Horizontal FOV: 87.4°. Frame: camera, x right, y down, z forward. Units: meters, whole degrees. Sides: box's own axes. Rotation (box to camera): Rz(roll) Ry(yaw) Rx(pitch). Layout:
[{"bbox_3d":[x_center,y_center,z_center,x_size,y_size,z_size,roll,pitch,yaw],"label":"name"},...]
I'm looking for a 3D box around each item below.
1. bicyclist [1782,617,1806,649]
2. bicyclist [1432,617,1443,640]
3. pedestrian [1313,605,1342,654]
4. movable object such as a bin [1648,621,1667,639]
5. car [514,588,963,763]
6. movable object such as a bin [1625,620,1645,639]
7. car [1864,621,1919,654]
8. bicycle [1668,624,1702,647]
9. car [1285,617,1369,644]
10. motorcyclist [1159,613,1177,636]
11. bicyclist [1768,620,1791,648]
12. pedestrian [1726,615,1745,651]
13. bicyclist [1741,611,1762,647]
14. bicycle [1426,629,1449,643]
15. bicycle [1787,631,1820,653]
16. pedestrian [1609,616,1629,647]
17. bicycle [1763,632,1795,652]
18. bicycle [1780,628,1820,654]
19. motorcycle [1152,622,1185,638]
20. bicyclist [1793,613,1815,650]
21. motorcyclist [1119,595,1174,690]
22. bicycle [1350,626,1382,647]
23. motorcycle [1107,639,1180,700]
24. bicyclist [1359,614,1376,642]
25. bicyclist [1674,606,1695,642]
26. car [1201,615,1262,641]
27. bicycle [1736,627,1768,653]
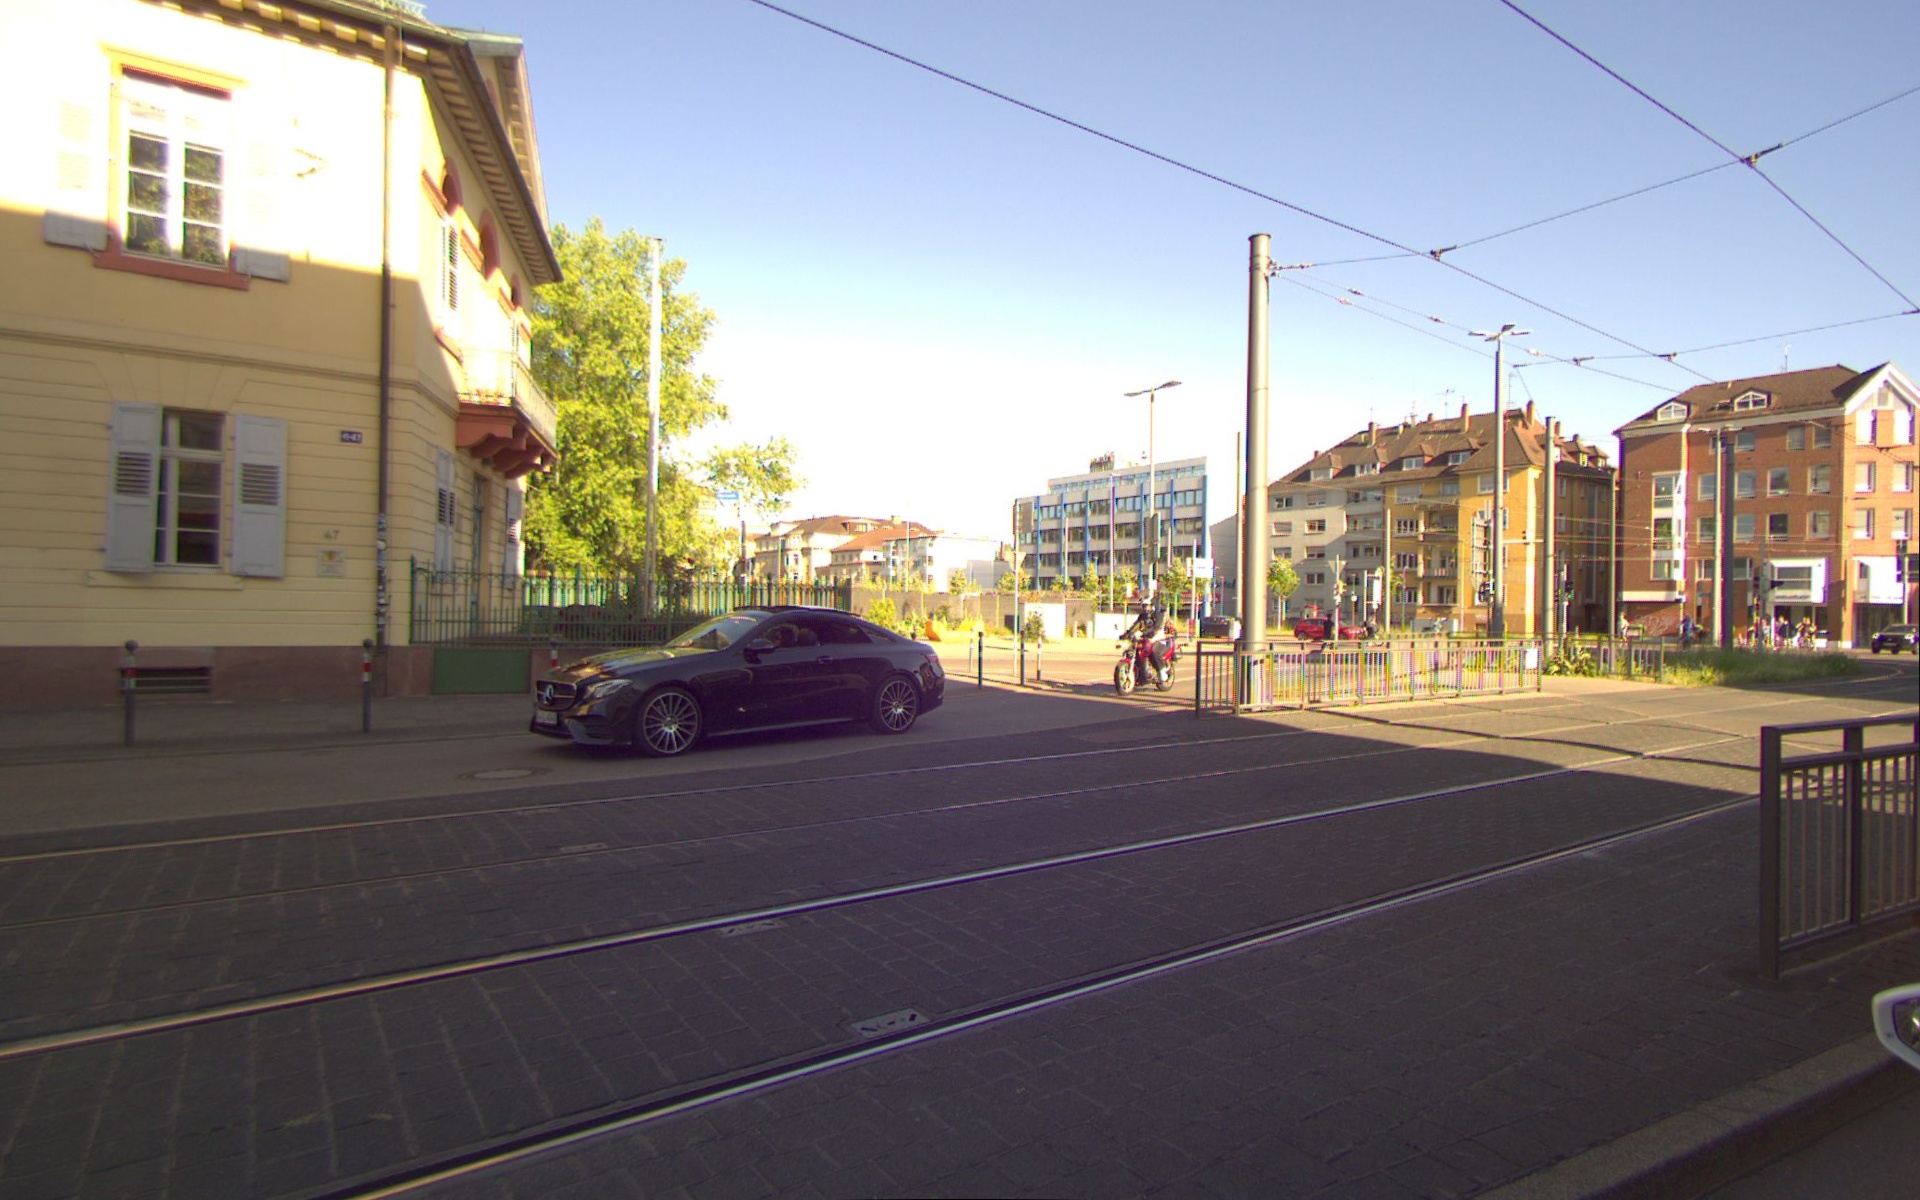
[{"bbox_3d":[44.369,1.742,53.446,0.792,1.671,0.589,2,0,-13],"label":"bicyclist"},{"bbox_3d":[27.548,1.654,57.914,0.453,1.333,0.397,2,0,44],"label":"bicyclist"},{"bbox_3d":[14.765,1.177,40.371,0.784,1.959,0.724,2,0,-9],"label":"pedestrian"},{"bbox_3d":[55.459,2.390,79.876,1.087,1.456,0.988,2,0,-39],"label":"movable object such as a bin"},{"bbox_3d":[-2.221,0.722,11.091,4.639,1.529,1.759,2,-2,-45],"label":"car"},{"bbox_3d":[54.475,2.374,81.058,1.087,1.456,0.988,2,0,-39],"label":"movable object such as a bin"},{"bbox_3d":[47.709,1.891,50.882,4.074,1.581,1.676,2,0,-30],"label":"car"},{"bbox_3d":[34.383,1.681,47.651,1.862,1.027,0.527,2,0,-29],"label":"bicycle"},{"bbox_3d":[21.836,1.805,59.903,1.768,1.529,4.513,1,-2,-39],"label":"car"},{"bbox_3d":[14.442,1.720,69.723,0.775,1.544,0.914,2,0,-36],"label":"motorcyclist"},{"bbox_3d":[42.871,1.773,52.539,0.721,1.473,0.661,2,0,-29],"label":"bicyclist"},{"bbox_3d":[45.433,1.934,58.846,0.819,2.040,0.592,2,0,-27],"label":"pedestrian"},{"bbox_3d":[38.702,1.412,49.124,0.761,1.695,0.518,2,0,-29],"label":"bicyclist"},{"bbox_3d":[27.530,2.080,57.942,1.160,0.774,0.318,2,0,45],"label":"bicycle"},{"bbox_3d":[39.886,1.980,47.510,1.873,1.027,0.527,2,0,-29],"label":"bicycle"},{"bbox_3d":[37.055,1.754,56.465,0.693,1.711,0.625,0,1,-12],"label":"pedestrian"},{"bbox_3d":[42.841,2.193,52.537,1.862,1.027,0.647,2,0,-29],"label":"bicycle"},{"bbox_3d":[44.774,2.177,53.549,1.992,1.308,0.574,2,0,-14],"label":"bicycle"},{"bbox_3d":[14.447,2.076,69.713,0.784,0.997,2.342,2,0,-36],"label":"motorcycle"},{"bbox_3d":[39.899,1.490,47.510,0.761,1.695,0.522,2,0,-28],"label":"bicyclist"},{"bbox_3d":[3.245,0.721,17.467,0.642,1.579,0.883,2,0,30],"label":"motorcyclist"},{"bbox_3d":[22.095,1.975,54.702,0.608,1.148,1.481,2,-2,-43],"label":"bicycle"},{"bbox_3d":[3.211,1.167,17.438,0.590,0.939,2.153,2,0,28],"label":"motorcycle"},{"bbox_3d":[22.175,1.513,54.641,0.605,1.513,0.608,2,0,-44],"label":"bicyclist"},{"bbox_3d":[34.350,1.127,47.624,0.761,1.695,0.518,2,0,-29],"label":"bicyclist"},{"bbox_3d":[17.627,1.814,65.321,1.560,1.491,3.673,2,0,-36],"label":"car"},{"bbox_3d":[38.804,1.955,49.189,1.862,1.230,0.527,2,0,-29],"label":"bicycle"}]
